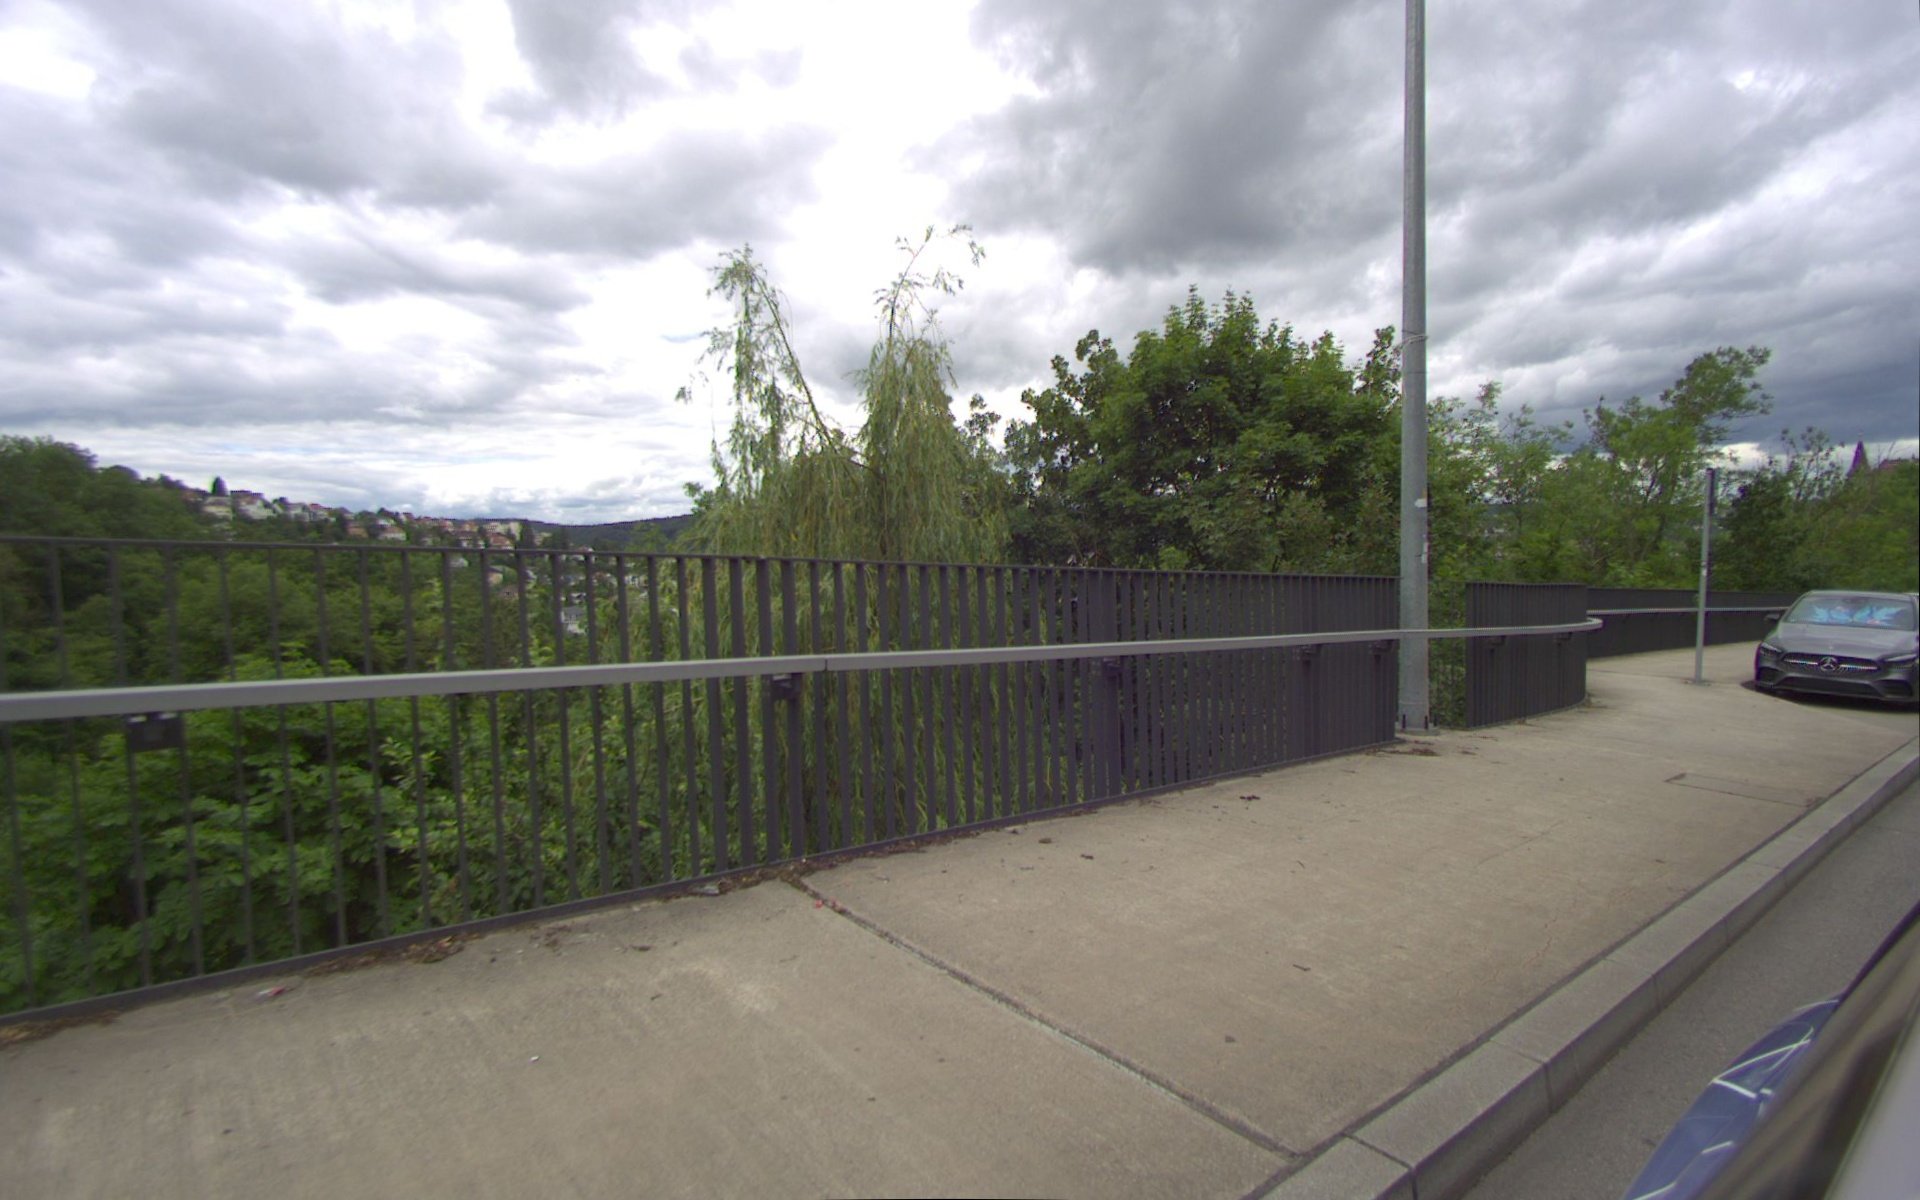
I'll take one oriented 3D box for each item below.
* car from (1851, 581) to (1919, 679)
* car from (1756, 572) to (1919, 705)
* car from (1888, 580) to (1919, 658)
[{"bbox_3d":[17.732,0.487,18.349,4.543,1.588,1.730,-1,3,-41],"label":"car"},{"bbox_3d":[13.082,0.449,14.507,4.349,1.562,1.761,-1,4,-41],"label":"car"},{"bbox_3d":[21.762,0.415,22.080,4.181,1.591,1.663,-1,4,-41],"label":"car"}]
